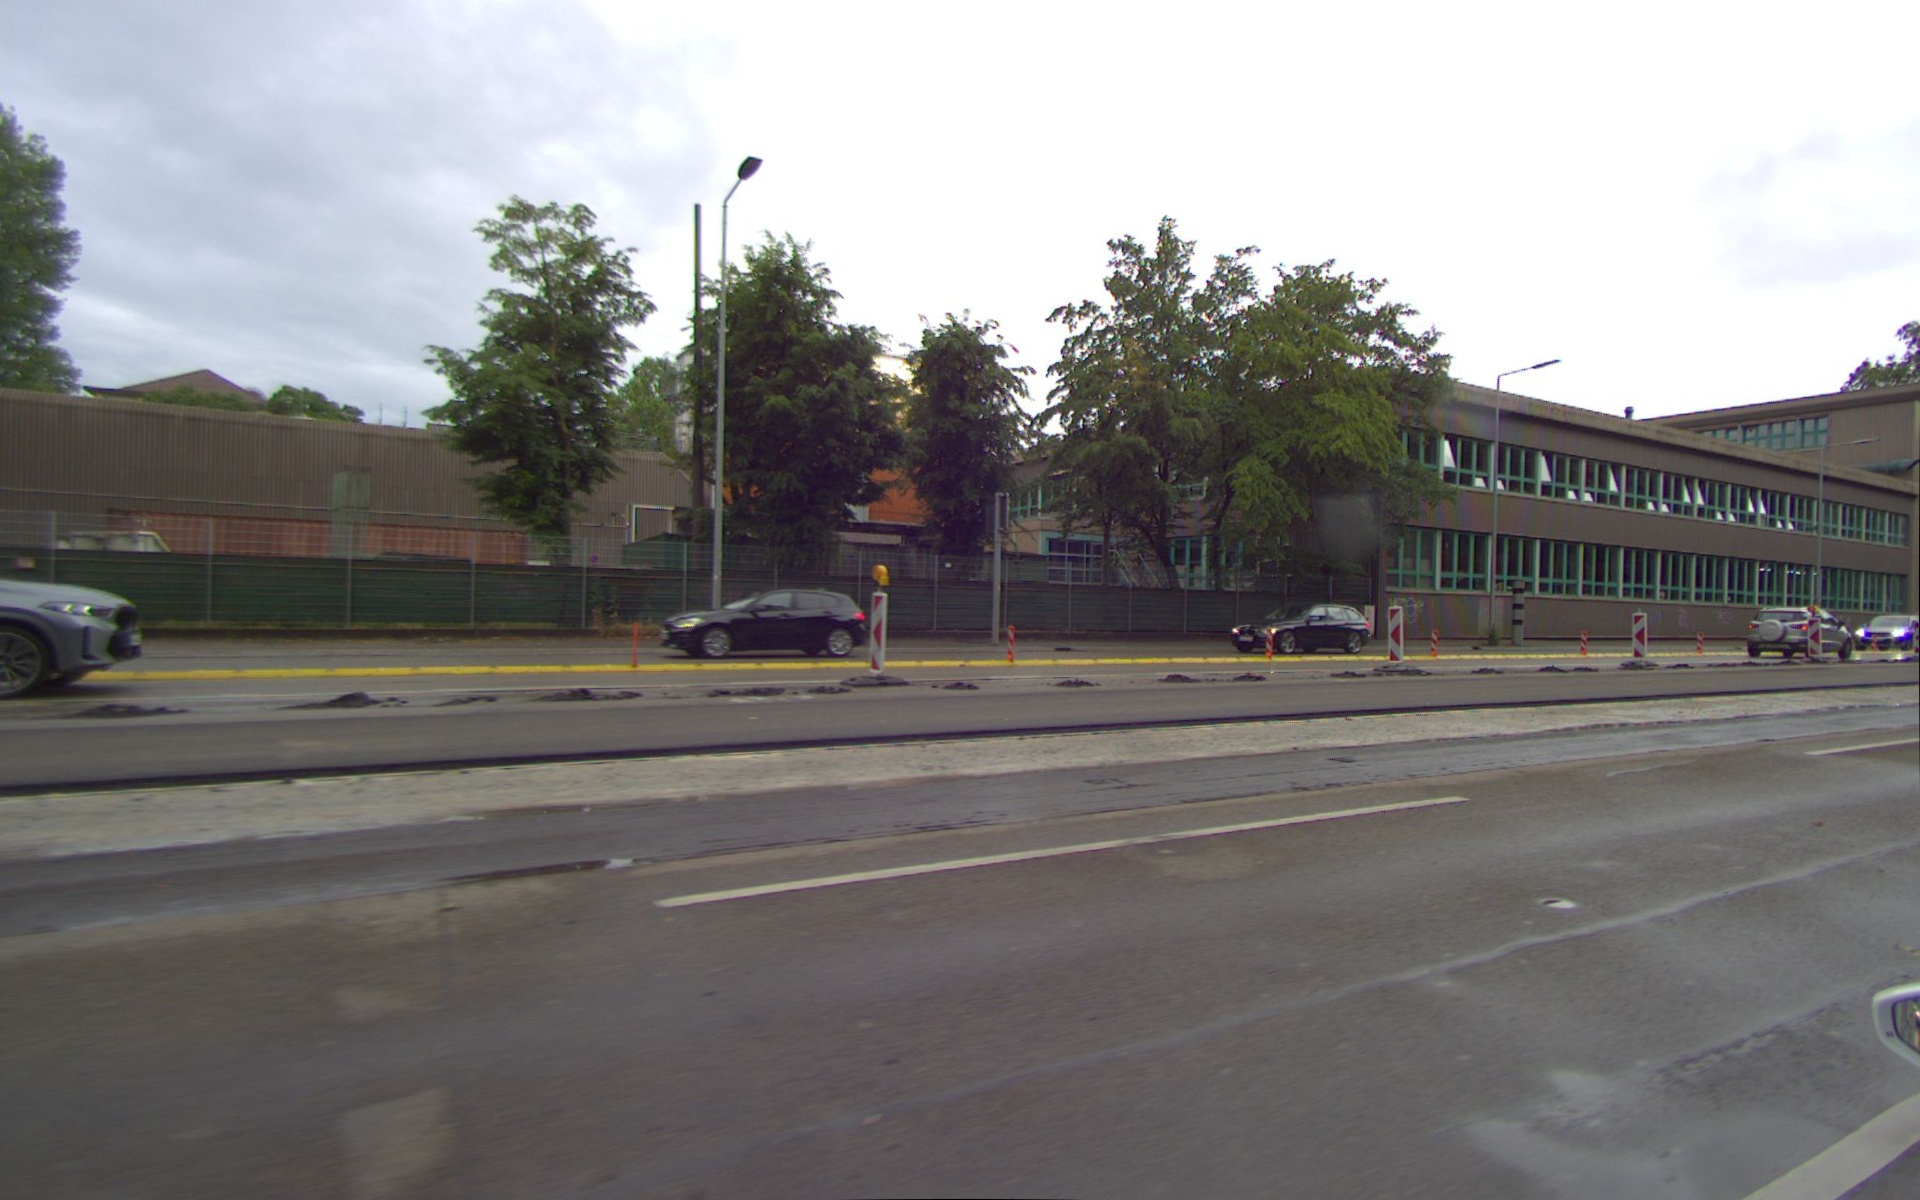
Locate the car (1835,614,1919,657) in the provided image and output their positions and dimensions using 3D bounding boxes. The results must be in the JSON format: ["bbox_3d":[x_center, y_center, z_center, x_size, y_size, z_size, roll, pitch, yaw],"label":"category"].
[{"bbox_3d":[42.019,1.633,45.600,4.617,1.792,1.980,2,1,-29],"label":"car"}]

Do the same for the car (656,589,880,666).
[{"bbox_3d":[-4.015,0.554,21.129,4.217,1.448,1.983,1,1,-31],"label":"car"}]

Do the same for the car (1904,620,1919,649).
[{"bbox_3d":[54.894,1.985,56.122,4.130,1.607,1.983,2,1,-31],"label":"car"}]

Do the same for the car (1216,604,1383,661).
[{"bbox_3d":[9.943,0.953,29.343,4.709,1.474,2.036,2,1,-30],"label":"car"}]

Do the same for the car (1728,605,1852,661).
[{"bbox_3d":[27.119,1.070,32.789,3.953,1.670,1.845,2,1,-30],"label":"car"}]

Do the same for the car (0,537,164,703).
[{"bbox_3d":[-11.309,0.129,10.017,4.998,1.635,2.066,2,1,-31],"label":"car"}]
